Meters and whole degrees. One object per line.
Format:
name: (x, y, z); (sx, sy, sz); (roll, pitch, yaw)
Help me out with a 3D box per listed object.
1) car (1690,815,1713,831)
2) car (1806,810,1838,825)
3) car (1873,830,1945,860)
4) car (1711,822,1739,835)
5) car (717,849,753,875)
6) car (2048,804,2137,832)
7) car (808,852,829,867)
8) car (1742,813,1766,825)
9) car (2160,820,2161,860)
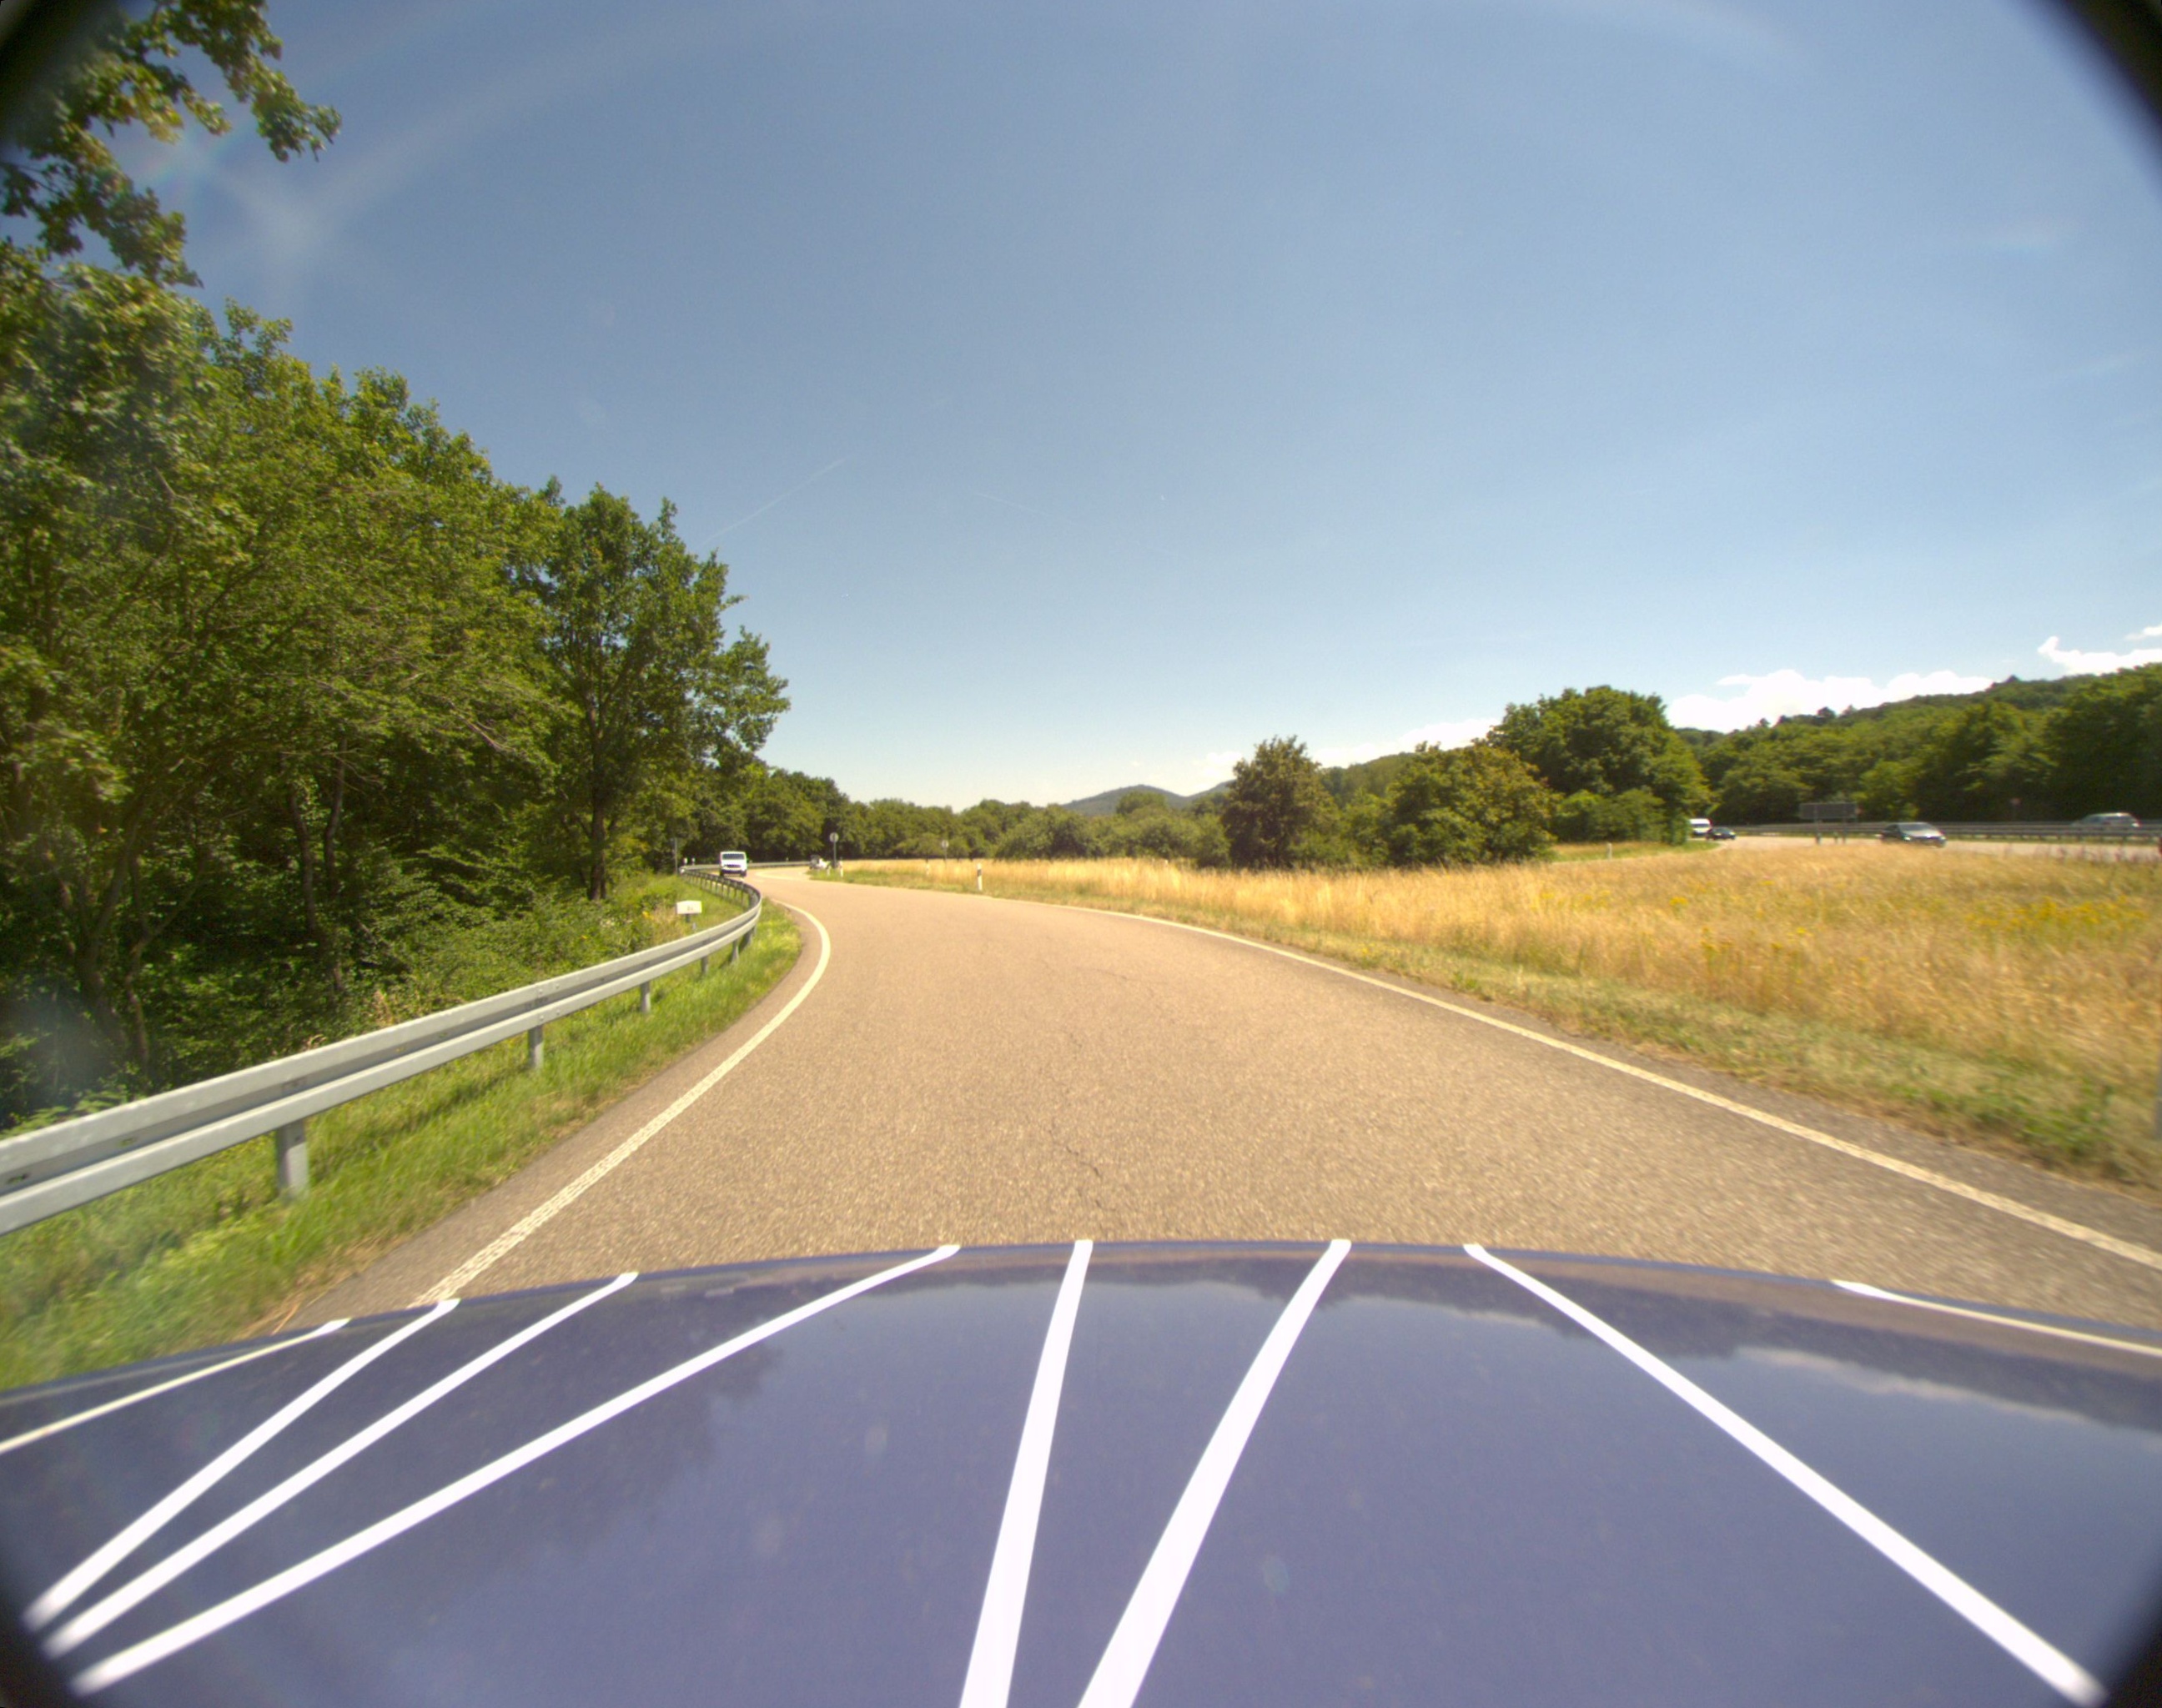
car: (82.913, -4.119, 101.558); (2.004, 1.987, 4.587); (-2, 1, 35)
car: (101.394, -4.959, 104.006); (1.995, 1.882, 4.920); (-2, 2, 31)
car: (50.943, -0.587, 46.840); (1.794, 1.658, 4.561); (-1, 2, 31)
car: (72.603, -2.886, 85.711); (1.842, 1.399, 4.478); (-2, 1, 34)
car: (-27.742, 0.628, 60.780); (2.004, 2.002, 4.433); (0, 0, -33)
car: (70.306, -2.482, 52.922); (1.932, 1.741, 4.920); (-2, 2, 30)
car: (-37.061, 0.752, 107.284); (2.000, 2.002, 4.441); (0, 0, -8)
car: (111.115, -5.843, 125.514); (1.995, 1.882, 4.920); (-2, 2, 31)
car: (37.401, -0.498, 24.379); (1.842, 1.399, 4.478); (-3, -1, 36)
